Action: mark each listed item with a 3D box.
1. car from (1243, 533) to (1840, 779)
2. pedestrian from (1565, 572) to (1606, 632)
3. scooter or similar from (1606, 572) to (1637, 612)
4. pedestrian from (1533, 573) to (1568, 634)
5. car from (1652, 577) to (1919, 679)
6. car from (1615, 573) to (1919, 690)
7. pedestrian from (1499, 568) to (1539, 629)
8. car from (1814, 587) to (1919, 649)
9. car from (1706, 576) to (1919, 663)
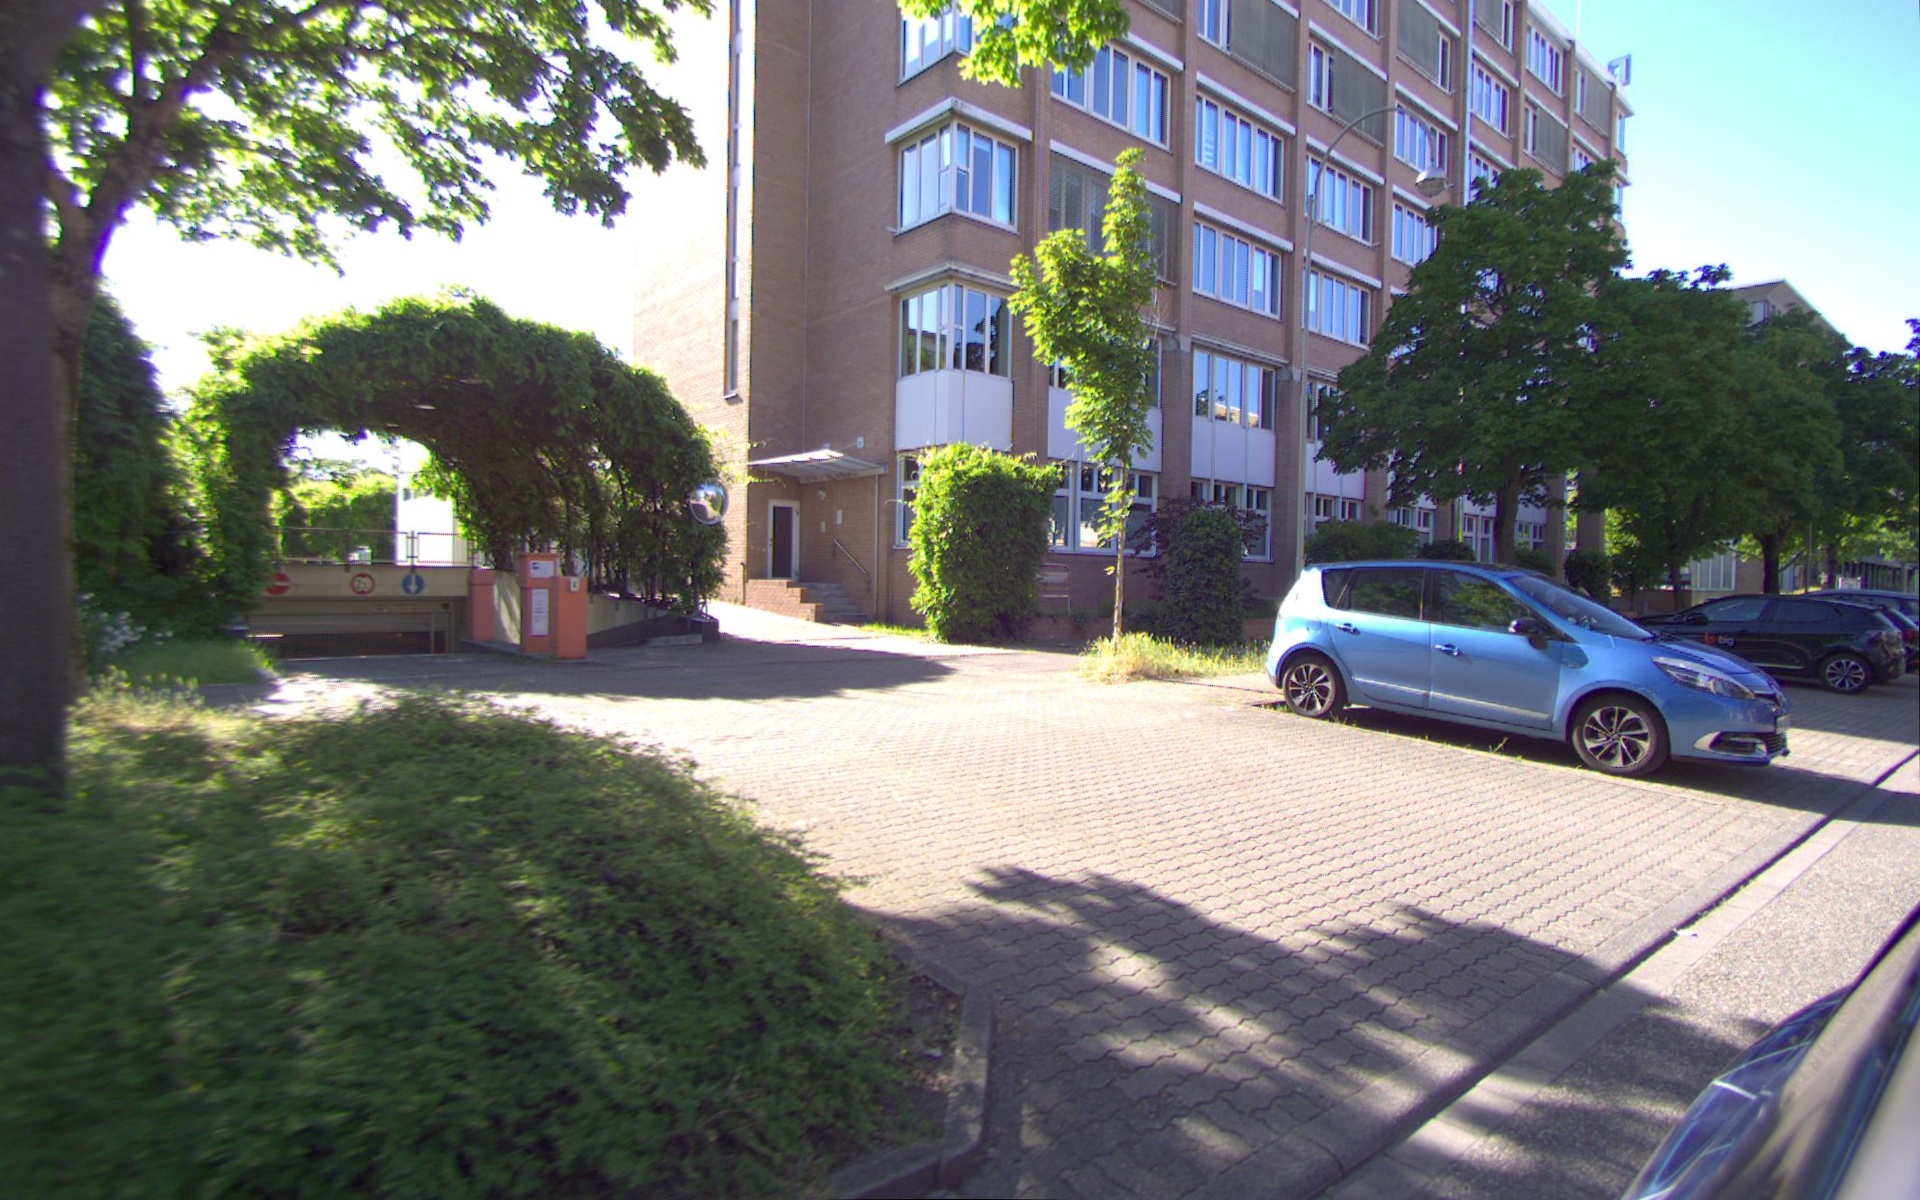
[{"bbox_3d":[5.129,0.282,9.485,1.878,1.637,4.416,0,5,-41],"label":"car"},{"bbox_3d":[16.002,0.037,25.897,0.703,1.476,0.701,0,2,-43],"label":"pedestrian"},{"bbox_3d":[22.491,-0.282,34.391,0.549,1.342,1.777,-1,0,44],"label":"scooter or similar"},{"bbox_3d":[15.487,0.084,26.545,0.584,1.539,0.603,0,2,-43],"label":"pedestrian"},{"bbox_3d":[14.838,0.427,18.014,1.672,1.425,3.809,0,4,-41],"label":"car"},{"bbox_3d":[13.287,0.418,16.628,1.794,1.501,3.853,0,4,-43],"label":"car"},{"bbox_3d":[15.005,-0.050,27.161,0.550,1.571,0.757,0,2,-43],"label":"pedestrian"},{"bbox_3d":[24.381,0.472,25.661,1.744,1.457,3.941,0,2,-42],"label":"car"},{"bbox_3d":[18.610,0.371,21.374,4.353,1.617,1.909,3,2,44],"label":"car"}]
